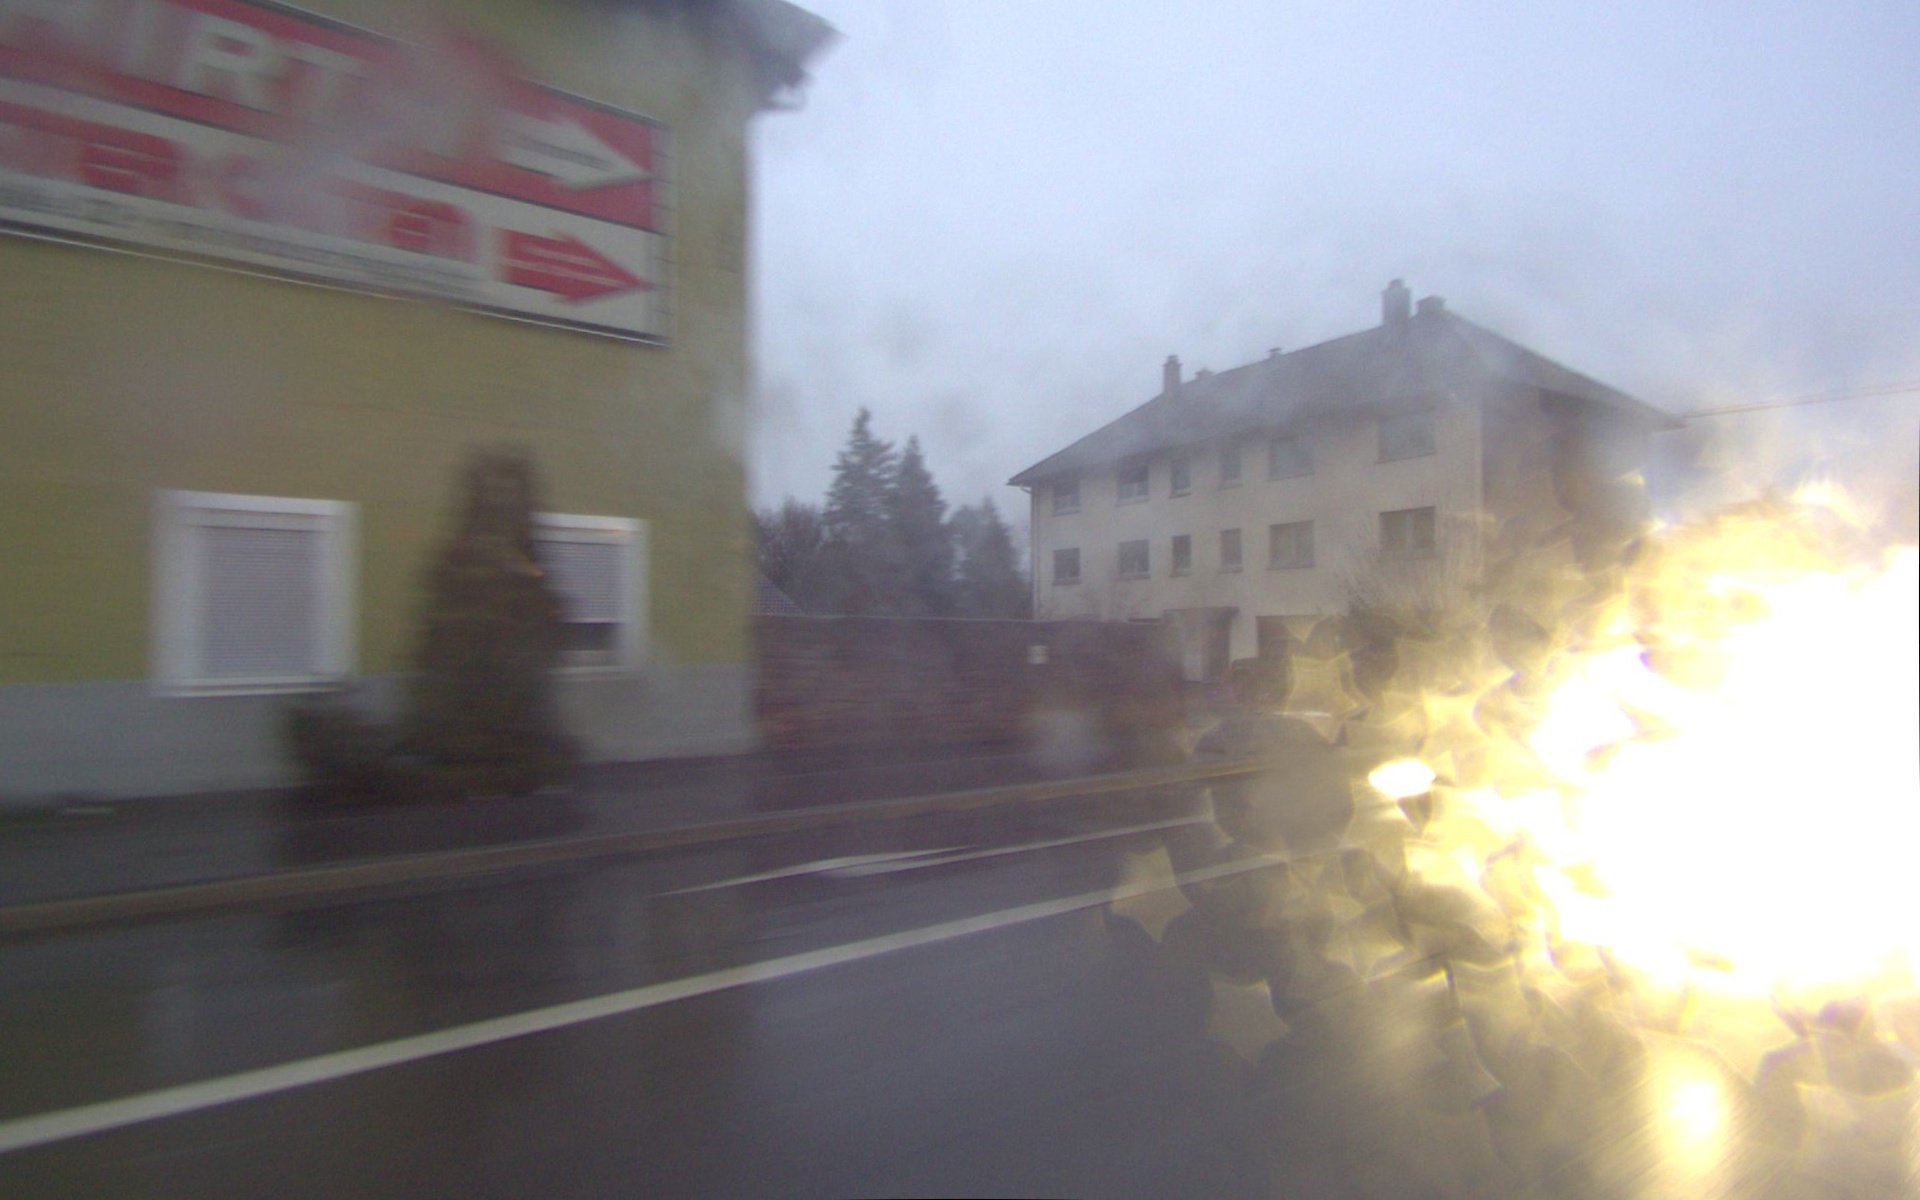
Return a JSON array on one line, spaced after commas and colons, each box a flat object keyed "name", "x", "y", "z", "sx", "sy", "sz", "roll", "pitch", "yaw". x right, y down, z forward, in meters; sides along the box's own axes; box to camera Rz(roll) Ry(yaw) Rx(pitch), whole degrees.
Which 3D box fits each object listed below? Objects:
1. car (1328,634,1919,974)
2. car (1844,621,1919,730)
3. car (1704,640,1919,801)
[{"name": "car", "x": 4.484, "y": 0.946, "z": 6.372, "sx": 4.480, "sy": 1.412, "sz": 1.867, "roll": 1, "pitch": -2, "yaw": -36}, {"name": "car", "x": 15.809, "y": 1.126, "z": 16.030, "sx": 4.254, "sy": 1.606, "sz": 1.861, "roll": 1, "pitch": -3, "yaw": -40}, {"name": "car", "x": 9.770, "y": 1.145, "z": 10.777, "sx": 4.248, "sy": 1.391, "sz": 1.811, "roll": 1, "pitch": -3, "yaw": -38}]
